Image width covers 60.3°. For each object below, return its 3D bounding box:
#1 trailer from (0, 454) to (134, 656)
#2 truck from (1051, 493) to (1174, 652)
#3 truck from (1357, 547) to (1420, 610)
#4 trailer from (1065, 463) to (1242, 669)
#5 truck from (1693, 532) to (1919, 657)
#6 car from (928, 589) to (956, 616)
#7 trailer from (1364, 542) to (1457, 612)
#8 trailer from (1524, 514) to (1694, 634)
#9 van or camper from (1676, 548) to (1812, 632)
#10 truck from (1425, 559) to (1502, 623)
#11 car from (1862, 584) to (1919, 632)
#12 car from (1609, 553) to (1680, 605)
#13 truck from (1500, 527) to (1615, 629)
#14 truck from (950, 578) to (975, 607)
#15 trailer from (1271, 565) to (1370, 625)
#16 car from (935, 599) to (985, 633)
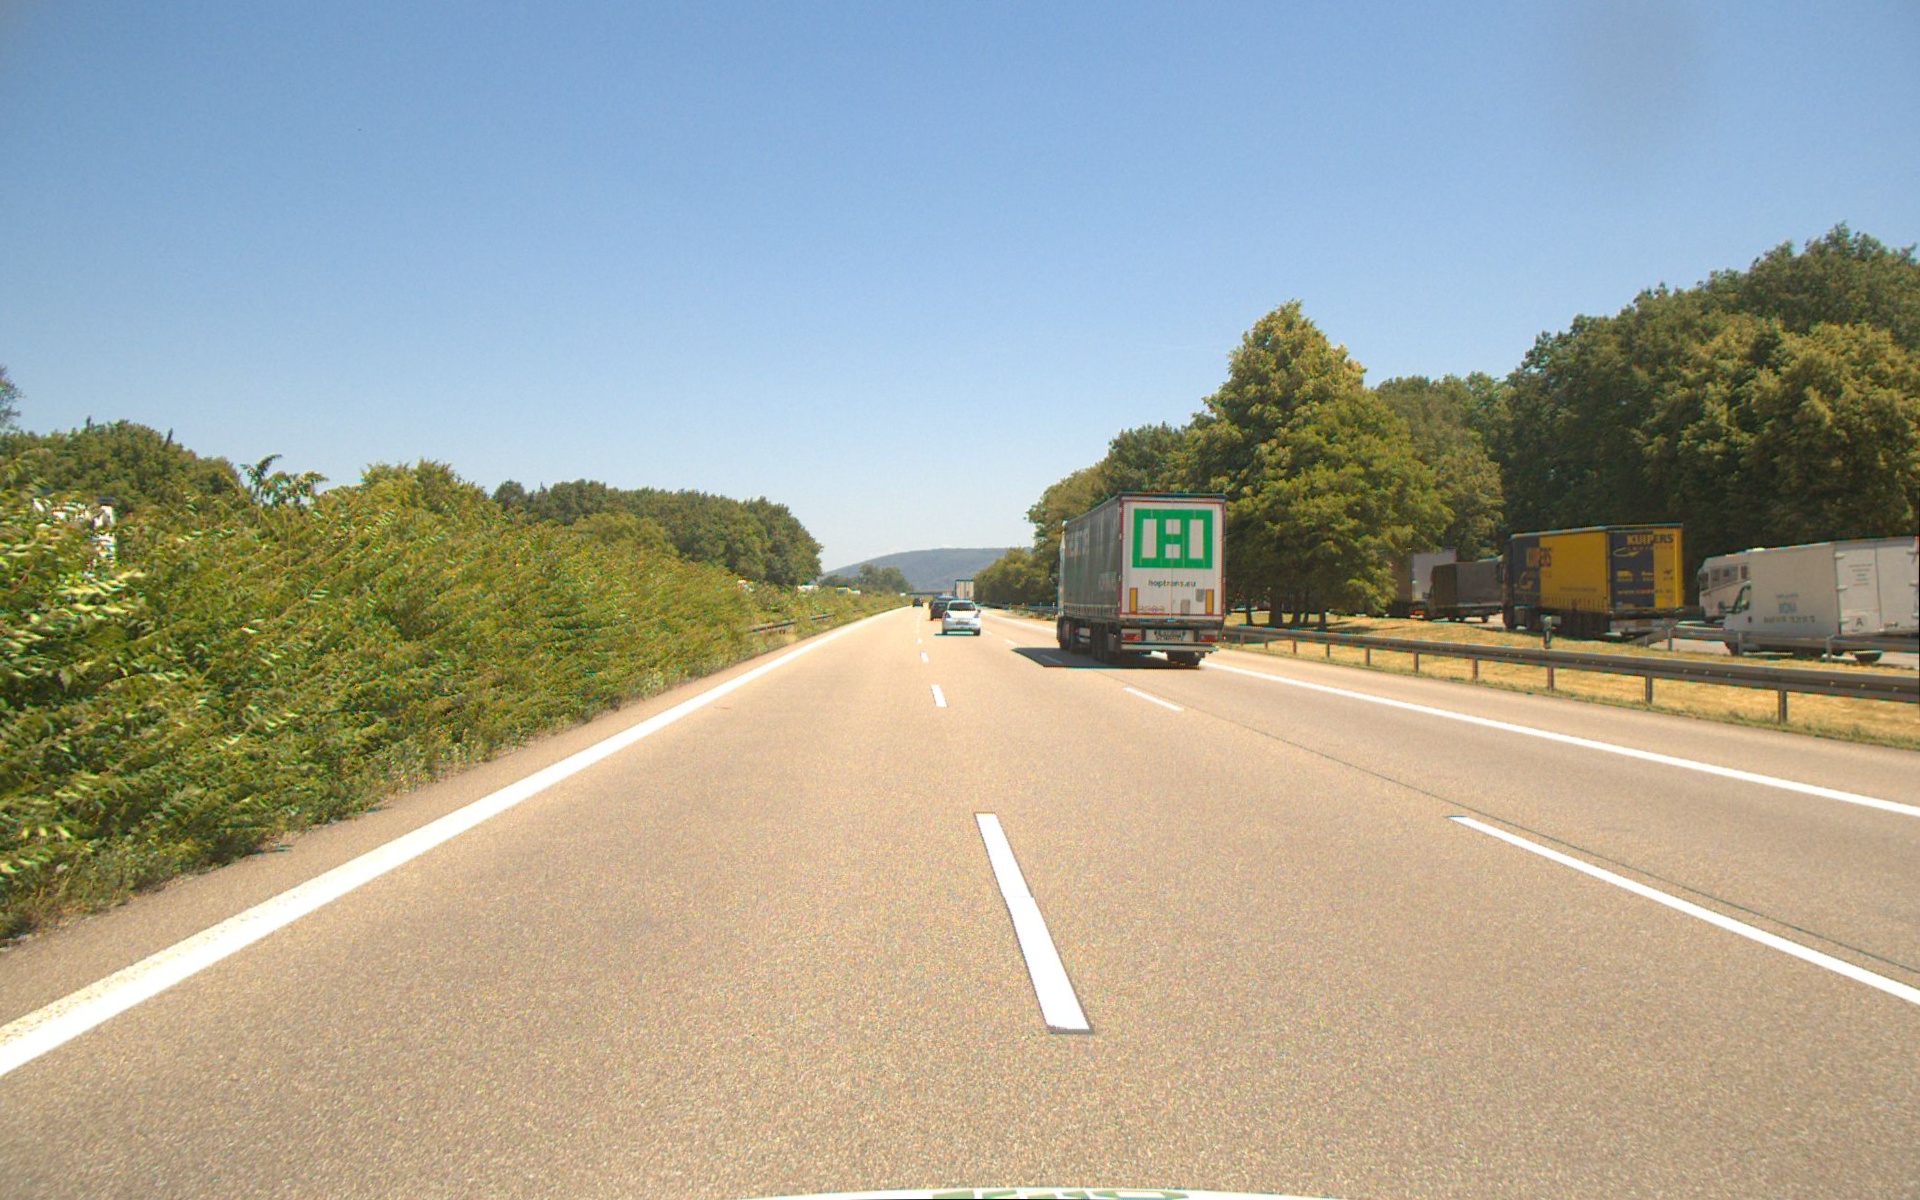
[{"bbox_3d":[-18.629,-0.818,28.148,2.904,3.632,13.426,0,0,-3],"label":"trailer"},{"bbox_3d":[4.676,-0.805,51.871,3.118,4.688,5.945,0,0,-2],"label":"truck"},{"bbox_3d":[27.268,-1.322,105.379,3.023,3.856,5.320,1,0,5],"label":"truck"},{"bbox_3d":[4.823,-0.797,43.925,3.117,4.708,12.048,0,0,-1],"label":"trailer"},{"bbox_3d":[22.161,-0.143,43.554,2.417,2.997,7.659,0,0,1],"label":"truck"},{"bbox_3d":[-1.298,0.171,122.176,1.858,1.926,4.001,-1,0,1],"label":"car"},{"bbox_3d":[26.666,-1.312,98.604,3.036,3.856,13.371,1,0,5],"label":"trailer"},{"bbox_3d":[23.721,-0.873,61.204,3.116,4.004,11.559,0,0,7],"label":"trailer"},{"bbox_3d":[32.307,-0.406,68.481,2.935,3.291,7.005,-1,0,7],"label":"van or camper"},{"bbox_3d":[25.936,-0.447,85.470,2.416,3.140,6.620,1,0,4],"label":"truck"},{"bbox_3d":[30.636,0.228,52.412,1.951,1.476,5.038,-1,0,8],"label":"car"},{"bbox_3d":[34.031,-1.041,82.328,1.951,2.482,4.783,-1,0,6],"label":"car"},{"bbox_3d":[24.672,-0.876,68.618,3.116,4.004,6.622,0,0,7],"label":"truck"},{"bbox_3d":[0.305,-1.060,227.389,3.258,3.822,12.793,1,0,-1],"label":"truck"},{"bbox_3d":[25.759,-0.376,119.151,3.073,4.021,14.184,-1,0,-4],"label":"trailer"},{"bbox_3d":[-0.034,0.692,73.736,1.777,1.429,3.311,0,0,-8],"label":"car"}]
